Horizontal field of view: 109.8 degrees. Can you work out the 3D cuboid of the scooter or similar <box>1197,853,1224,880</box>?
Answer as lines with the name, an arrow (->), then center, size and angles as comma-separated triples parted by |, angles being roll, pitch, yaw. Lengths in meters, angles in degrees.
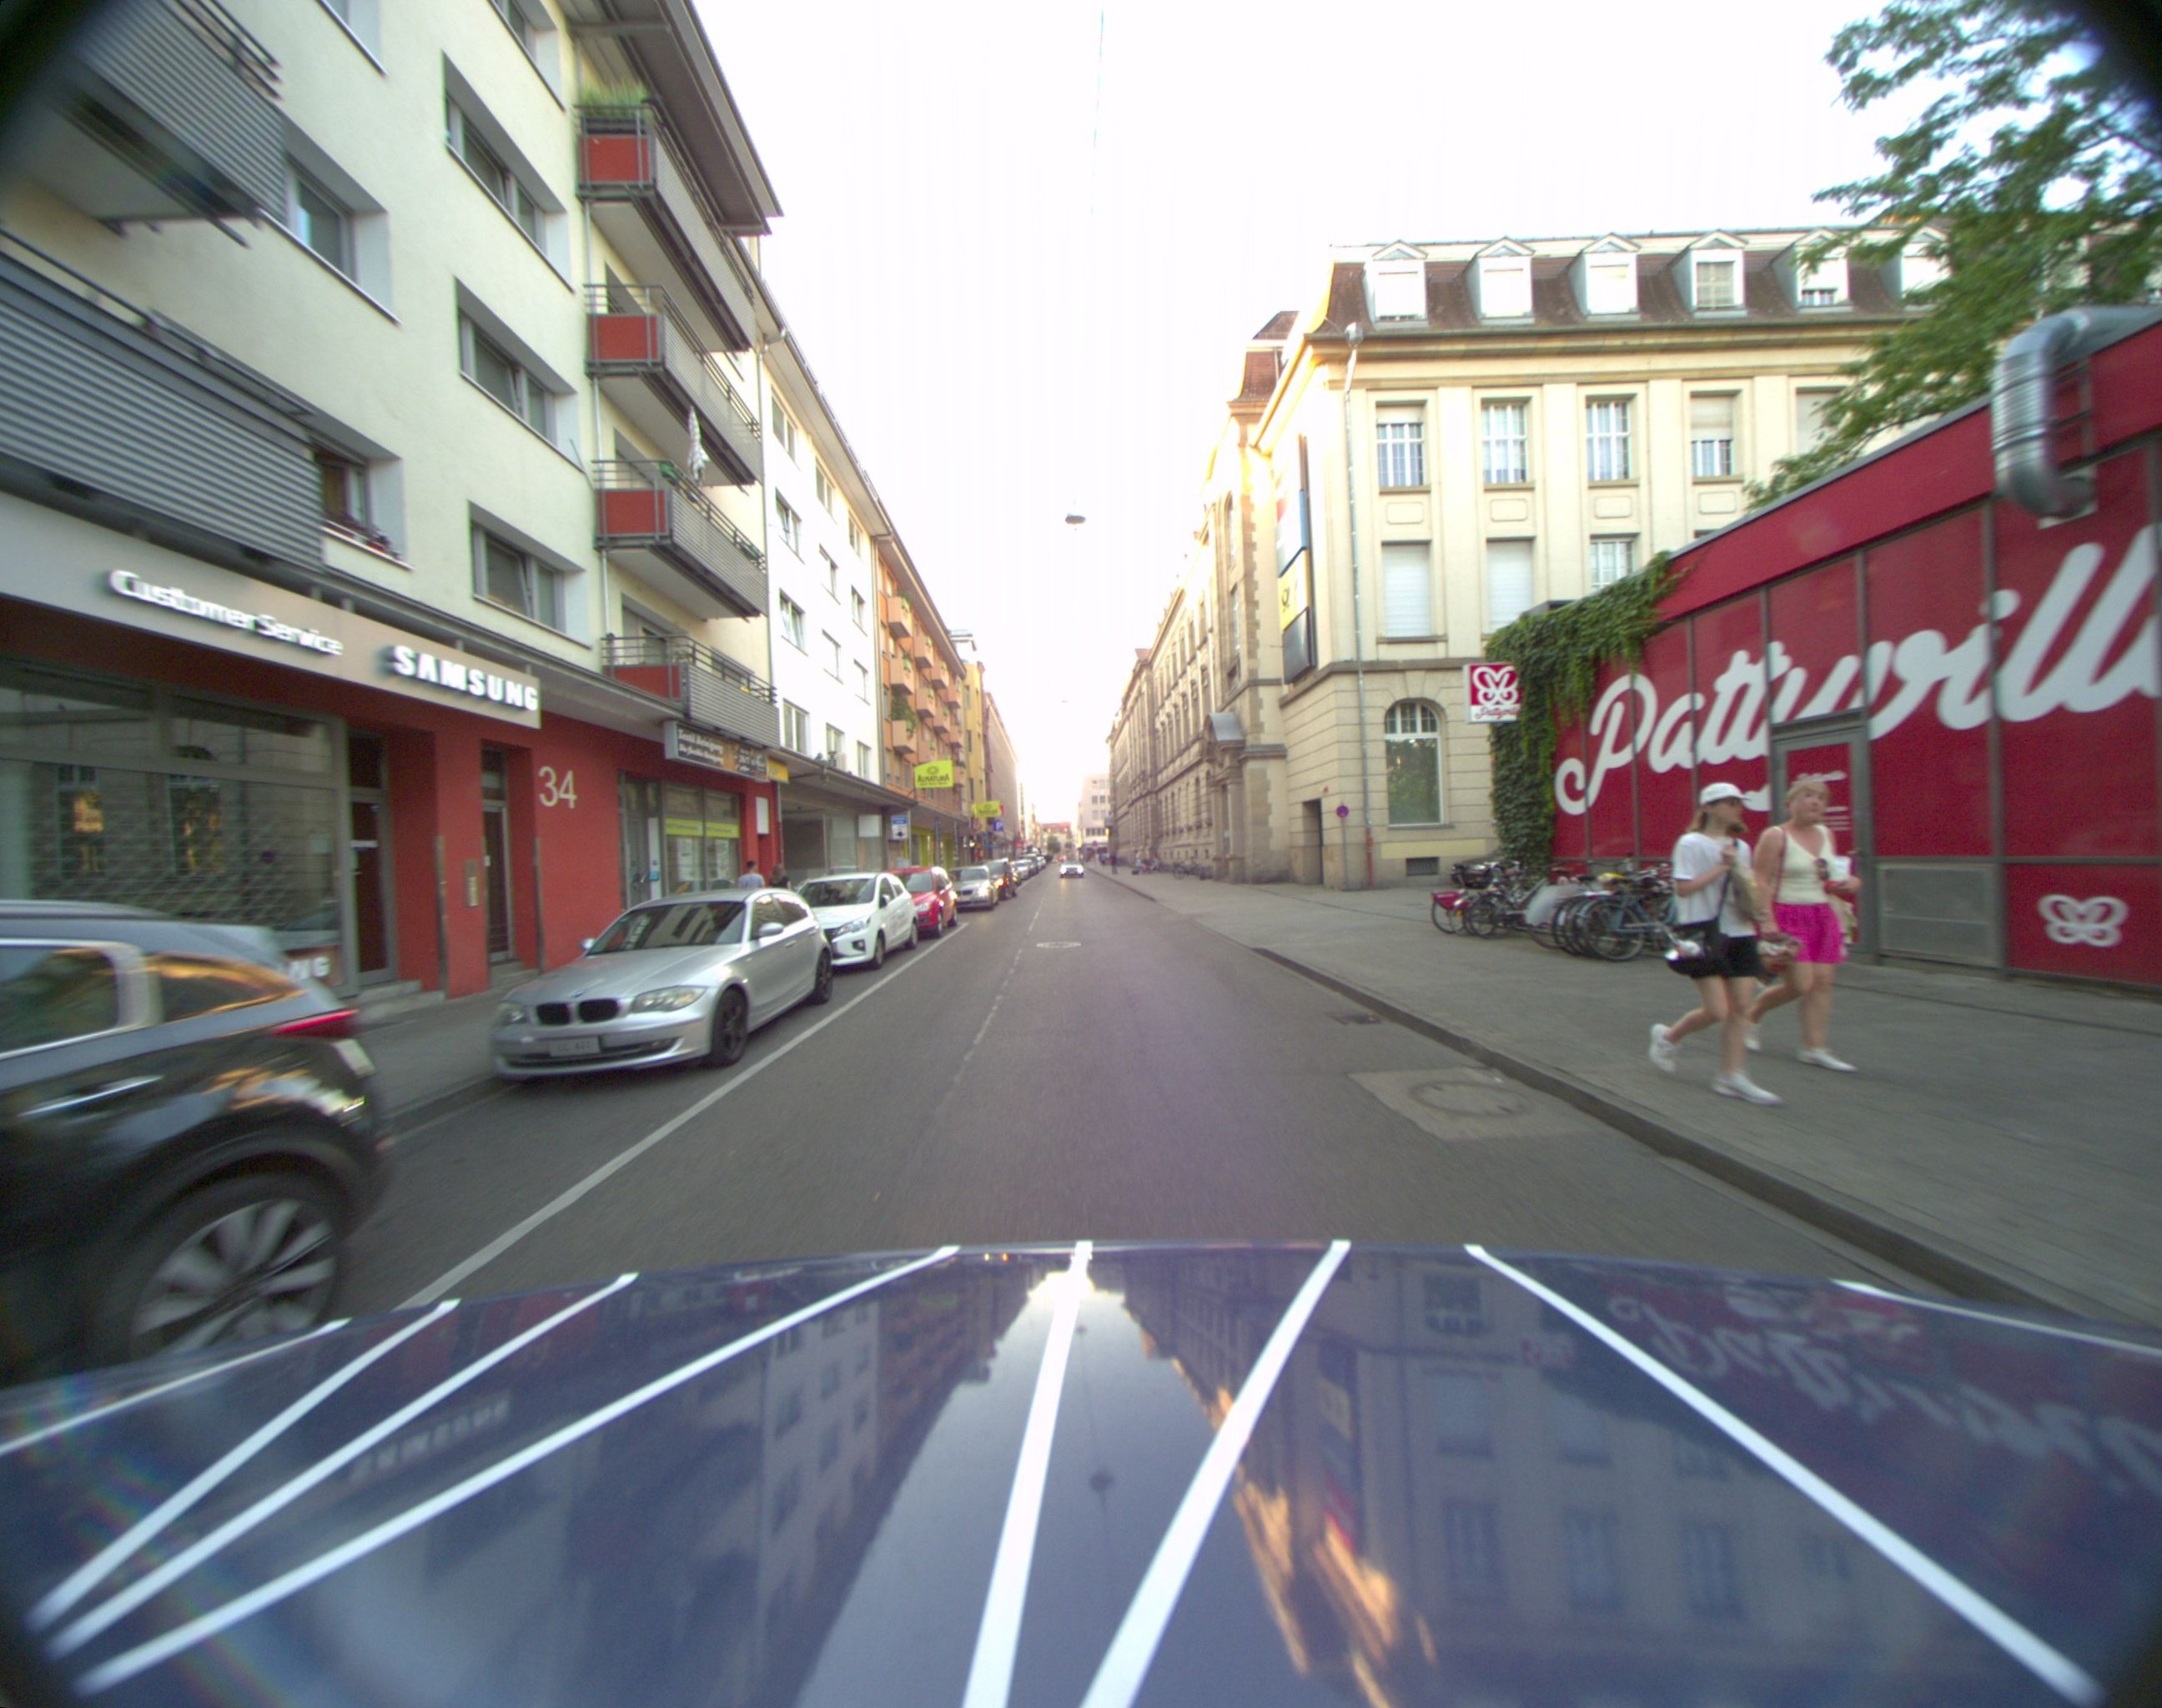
scooter or similar -> 6.310, 0.592, 37.096 | 1.137, 1.225, 0.496 | -4, 1, -13

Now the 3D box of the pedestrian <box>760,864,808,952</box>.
pedestrian -> -5.755, 1.031, 14.739 | 0.649, 1.651, 0.655 | 0, 1, 1

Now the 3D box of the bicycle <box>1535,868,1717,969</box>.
bicycle -> 6.644, 0.780, 9.315 | 1.798, 1.101, 0.500 | -3, 0, 2

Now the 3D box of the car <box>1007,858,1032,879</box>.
car -> -4.614, 1.092, 57.481 | 1.696, 1.403, 4.638 | -5, 0, -4

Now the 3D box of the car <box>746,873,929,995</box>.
car -> -3.807, 1.165, 12.651 | 1.610, 1.503, 4.048 | -5, 0, 0

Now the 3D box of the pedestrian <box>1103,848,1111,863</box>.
pedestrian -> 3.179, 0.175, 92.933 | 0.831, 1.735, 0.769 | -5, 0, -1

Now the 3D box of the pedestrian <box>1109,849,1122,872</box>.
pedestrian -> 2.686, 0.480, 59.632 | 0.811, 1.740, 0.969 | -4, 1, -1

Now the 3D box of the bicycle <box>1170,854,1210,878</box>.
bicycle -> 5.852, 0.637, 40.878 | 1.944, 1.055, 0.619 | -6, 1, -16

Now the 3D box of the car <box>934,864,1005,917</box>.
car -> -3.556, 1.124, 25.052 | 1.741, 1.407, 4.681 | -5, 0, -2

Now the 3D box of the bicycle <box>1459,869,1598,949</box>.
bicycle -> 6.811, 0.821, 11.591 | 1.799, 1.101, 0.500 | -3, 0, -2

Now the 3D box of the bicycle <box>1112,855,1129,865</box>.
bicycle -> 4.827, 0.681, 93.695 | 1.943, 1.072, 0.730 | -4, 1, -8

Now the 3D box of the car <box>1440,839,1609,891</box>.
car -> 13.151, 0.326, 22.683 | 4.016, 1.363, 1.750 | -2, 0, -2

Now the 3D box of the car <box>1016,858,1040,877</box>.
car -> -4.678, 1.173, 67.766 | 1.691, 1.444, 4.498 | -5, 0, 0

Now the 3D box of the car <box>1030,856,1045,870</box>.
car -> -5.250, 1.084, 91.779 | 1.661, 1.439, 4.307 | -4, 1, -2

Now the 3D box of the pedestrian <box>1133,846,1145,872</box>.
pedestrian -> 4.225, 0.366, 55.206 | 0.589, 1.840, 0.754 | -4, 0, -6

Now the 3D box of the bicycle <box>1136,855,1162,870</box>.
bicycle -> 5.384, 0.685, 60.159 | 1.942, 1.055, 0.619 | -4, 1, -2

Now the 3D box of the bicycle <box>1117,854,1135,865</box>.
bicycle -> 5.015, 0.592, 84.611 | 1.941, 1.040, 0.721 | -3, 0, -5

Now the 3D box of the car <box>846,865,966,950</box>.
car -> -3.770, 1.072, 17.186 | 1.717, 1.503, 4.651 | -5, 0, -2

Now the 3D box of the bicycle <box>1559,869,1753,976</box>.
bicycle -> 6.658, 0.781, 8.845 | 1.798, 1.101, 0.500 | -3, 0, 2

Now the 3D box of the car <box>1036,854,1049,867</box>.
car -> -5.506, 0.966, 108.780 | 1.781, 1.656, 4.811 | -4, 1, -3

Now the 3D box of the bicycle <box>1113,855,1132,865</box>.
bicycle -> 4.849, 0.681, 88.882 | 1.943, 1.072, 0.730 | -4, 1, -8

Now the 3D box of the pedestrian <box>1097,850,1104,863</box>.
pedestrian -> 2.849, 0.385, 111.264 | 0.778, 1.778, 0.820 | -3, 0, -3

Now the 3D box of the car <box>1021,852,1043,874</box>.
car -> -4.807, 0.850, 74.852 | 1.851, 2.046, 5.053 | -4, 1, -2

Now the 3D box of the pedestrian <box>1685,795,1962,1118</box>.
pedestrian -> 4.450, 0.568, 4.632 | 0.755, 1.739, 0.846 | -4, 0, -1

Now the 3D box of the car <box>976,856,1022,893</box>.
car -> -4.217, 1.032, 39.665 | 1.756, 1.658, 4.756 | -5, 0, 0

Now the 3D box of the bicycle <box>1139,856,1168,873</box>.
bicycle -> 5.136, 0.738, 53.732 | 1.942, 1.055, 0.619 | -4, 1, -3

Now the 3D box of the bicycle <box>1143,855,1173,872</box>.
bicycle -> 5.549, 0.693, 54.780 | 1.943, 1.055, 0.619 | -4, 1, -7

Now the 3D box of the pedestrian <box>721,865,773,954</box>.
pedestrian -> -6.443, 1.054, 14.676 | 0.649, 1.651, 0.794 | 0, 1, 1

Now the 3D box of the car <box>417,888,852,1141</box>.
car -> -3.740, 1.198, 7.475 | 1.703, 1.443, 4.458 | -5, 0, -3

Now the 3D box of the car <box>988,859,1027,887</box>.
car -> -4.266, 1.058, 44.634 | 1.696, 1.406, 4.756 | -5, 0, 0

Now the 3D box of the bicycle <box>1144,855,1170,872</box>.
bicycle -> 5.541, 0.666, 55.595 | 1.800, 1.101, 0.500 | -4, 1, -7

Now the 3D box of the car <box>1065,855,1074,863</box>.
car -> -2.545, 1.053, 168.169 | 1.824, 1.728, 3.999 | -2, 0, -2

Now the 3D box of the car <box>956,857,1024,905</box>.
car -> -3.557, 1.016, 30.428 | 1.798, 1.600, 4.487 | -5, 0, 4

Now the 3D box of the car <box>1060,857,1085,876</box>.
car -> -0.687, 0.934, 57.762 | 1.741, 1.407, 4.681 | 0, -1, -2

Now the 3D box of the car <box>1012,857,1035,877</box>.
car -> -4.706, 1.072, 62.652 | 1.622, 1.507, 4.173 | -5, 0, -2

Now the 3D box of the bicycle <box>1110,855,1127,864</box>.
bicycle -> 4.782, 0.684, 97.211 | 1.943, 1.072, 0.730 | -4, 1, -8

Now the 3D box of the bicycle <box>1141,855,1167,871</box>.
bicycle -> 5.467, 0.651, 56.793 | 1.800, 1.101, 0.500 | -4, 1, -7

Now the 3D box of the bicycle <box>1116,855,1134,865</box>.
bicycle -> 5.039, 0.676, 86.798 | 1.943, 1.072, 0.730 | -4, 1, -8

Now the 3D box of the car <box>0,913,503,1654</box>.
car -> -3.472, 1.128, 0.941 | 1.769, 1.632, 4.790 | -5, 0, -1

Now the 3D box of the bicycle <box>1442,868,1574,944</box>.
bicycle -> 6.799, 0.817, 12.126 | 1.799, 1.101, 0.500 | -3, 0, -2

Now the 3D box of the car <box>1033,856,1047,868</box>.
car -> -5.593, 1.095, 103.295 | 1.661, 1.439, 3.868 | -4, 1, 0

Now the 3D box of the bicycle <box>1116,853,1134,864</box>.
bicycle -> 4.920, 0.543, 85.527 | 1.942, 1.072, 0.748 | -4, 1, -2

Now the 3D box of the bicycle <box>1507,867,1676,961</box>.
bicycle -> 6.650, 0.776, 9.948 | 1.798, 1.101, 0.500 | -3, 0, 2

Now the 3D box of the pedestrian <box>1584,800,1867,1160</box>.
pedestrian -> 3.504, 0.624, 4.235 | 0.650, 1.740, 0.985 | -3, 0, -1

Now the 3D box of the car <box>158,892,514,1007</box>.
car -> -11.626, 1.406, 12.330 | 1.744, 1.329, 4.000 | -2, 0, 1

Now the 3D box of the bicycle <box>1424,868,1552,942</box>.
bicycle -> 6.665, 0.825, 12.470 | 1.799, 1.101, 0.500 | -3, 0, -1
